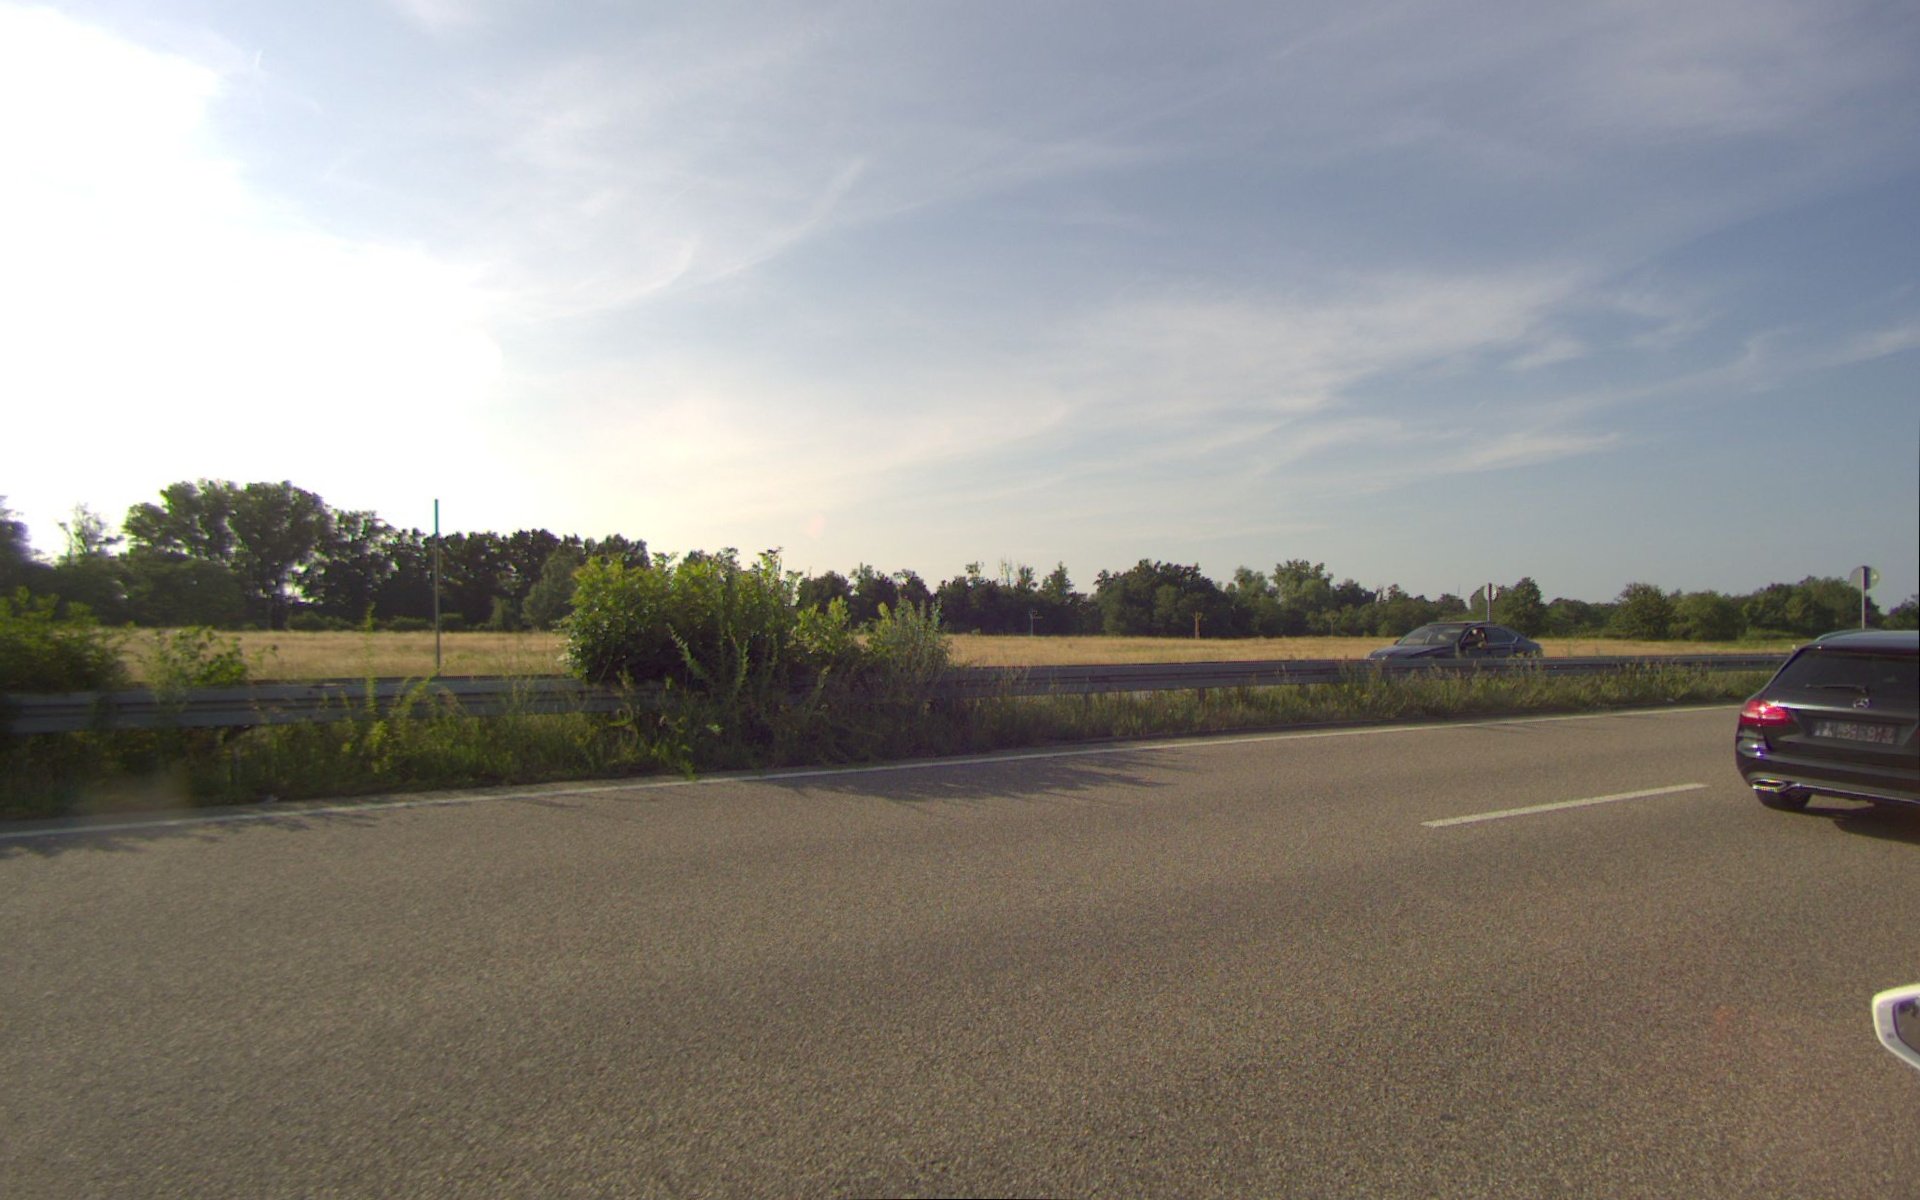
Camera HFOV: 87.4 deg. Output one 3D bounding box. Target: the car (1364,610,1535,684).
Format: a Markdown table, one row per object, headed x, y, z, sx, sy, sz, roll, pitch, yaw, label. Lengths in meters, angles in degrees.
| x | y | z | sx | sy | sz | roll | pitch | yaw | label |
| --- | --- | --- | --- | --- | --- | --- | --- | --- | --- |
| 10.605 | 1.010 | 21.716 | 3.578 | 1.460 | 1.602 | 2 | 0 | -31 | car |

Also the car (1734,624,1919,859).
| x | y | z | sx | sy | sz | roll | pitch | yaw | label |
| --- | --- | --- | --- | --- | --- | --- | --- | --- | --- |
| 8.179 | 0.959 | 7.910 | 4.963 | 1.490 | 1.565 | 1 | -1 | -30 | car |
